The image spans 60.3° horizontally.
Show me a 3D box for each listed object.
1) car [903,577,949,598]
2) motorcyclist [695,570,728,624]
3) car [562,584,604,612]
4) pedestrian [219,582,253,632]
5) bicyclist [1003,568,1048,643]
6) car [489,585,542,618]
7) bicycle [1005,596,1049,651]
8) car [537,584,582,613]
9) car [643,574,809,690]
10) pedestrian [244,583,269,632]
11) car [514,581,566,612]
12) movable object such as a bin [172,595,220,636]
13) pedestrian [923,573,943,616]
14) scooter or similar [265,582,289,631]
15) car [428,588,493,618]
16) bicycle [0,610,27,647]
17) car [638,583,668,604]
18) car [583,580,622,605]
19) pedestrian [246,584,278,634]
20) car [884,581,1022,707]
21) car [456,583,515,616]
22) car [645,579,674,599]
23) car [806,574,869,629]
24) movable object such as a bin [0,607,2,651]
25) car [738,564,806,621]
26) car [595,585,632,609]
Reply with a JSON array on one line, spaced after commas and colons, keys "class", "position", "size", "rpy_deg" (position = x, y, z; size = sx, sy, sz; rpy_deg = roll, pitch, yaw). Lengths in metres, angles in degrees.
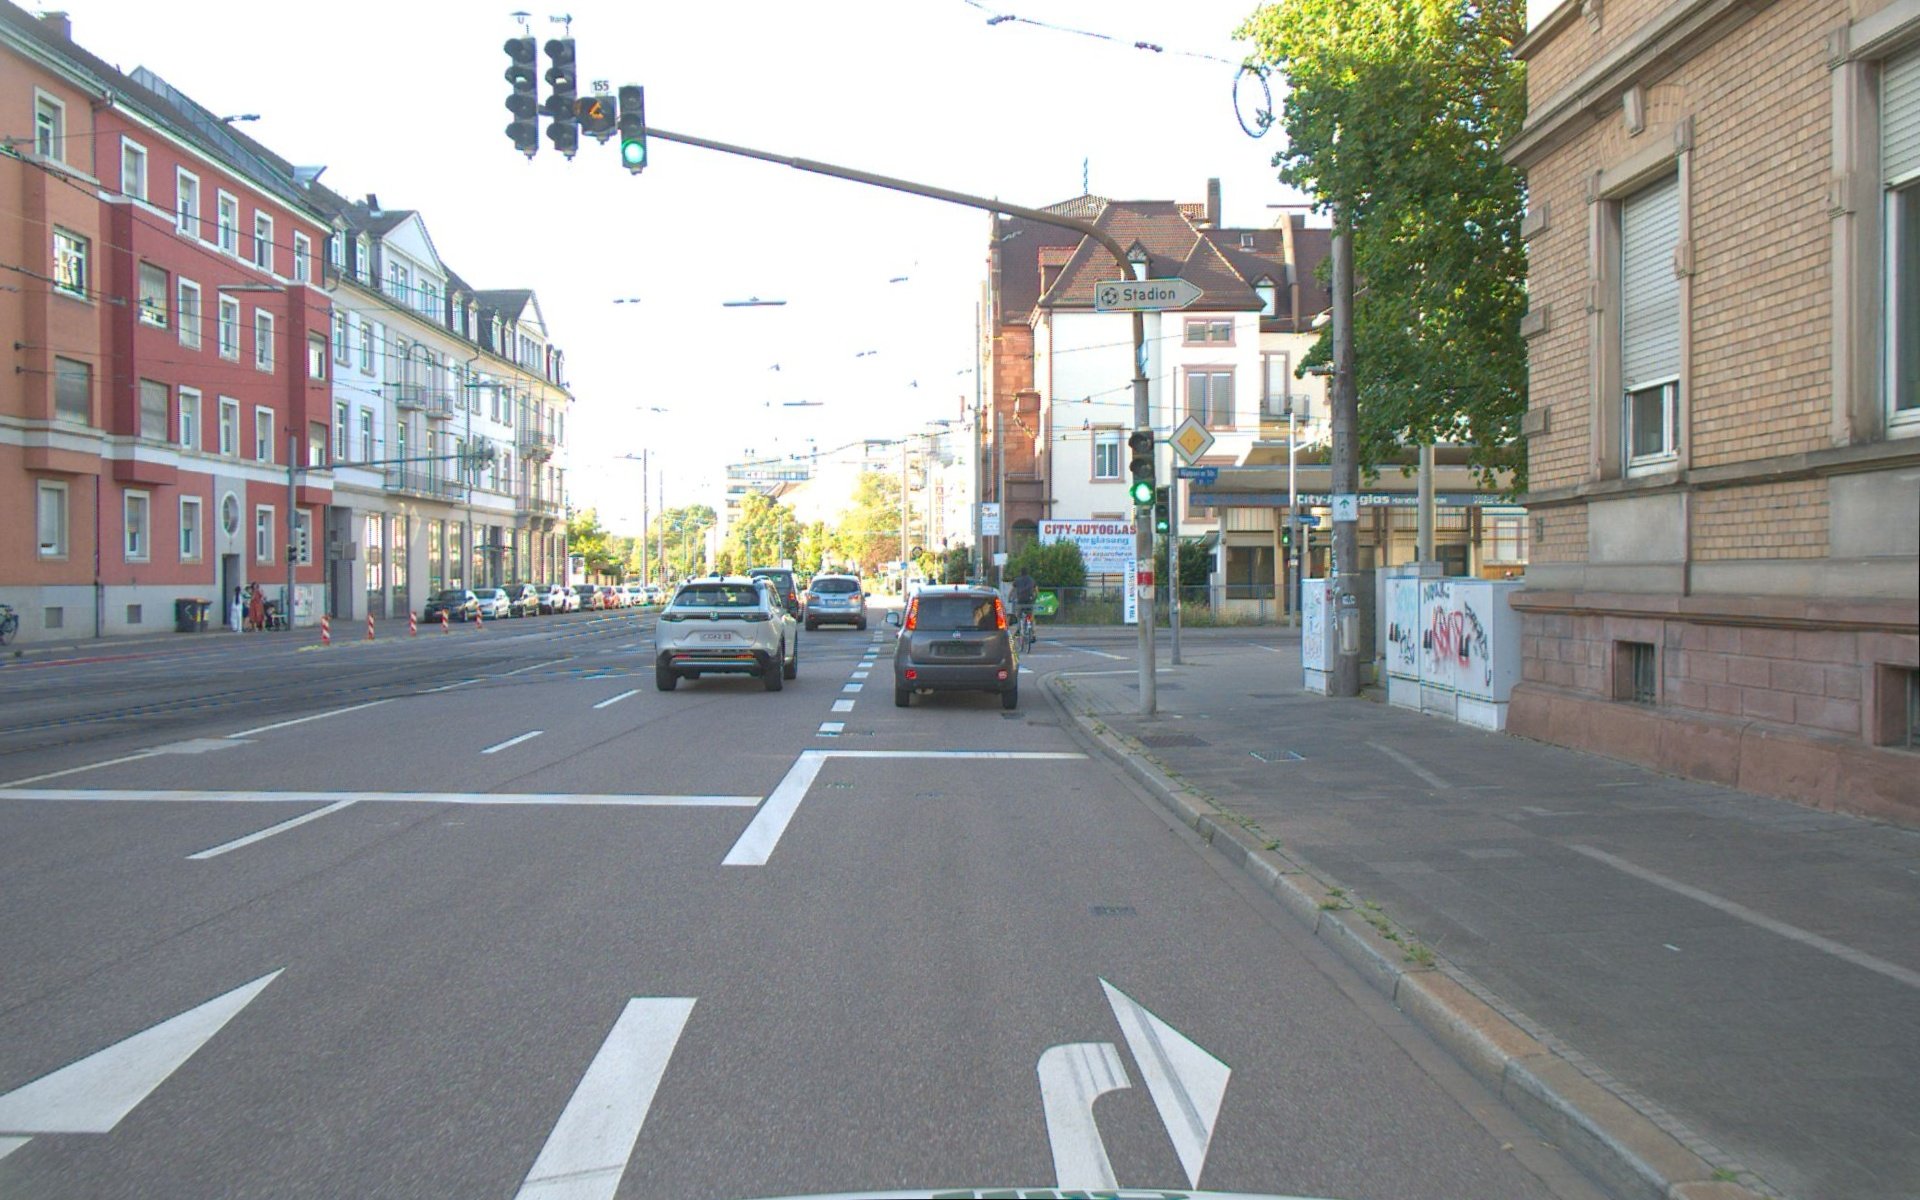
[{"class": "car", "position": [-3.265, -1.216, 158.585], "size": [4.182, 2.049, 1.995], "rpy_deg": [0, 0, -11]}, {"class": "motorcyclist", "position": [-6.672, -0.091, 44.451], "size": [0.762, 1.448, 0.891], "rpy_deg": [0, 1, -3]}, {"class": "car", "position": [-22.648, -0.143, 99.415], "size": [1.684, 1.579, 3.999], "rpy_deg": [-1, 1, -2]}, {"class": "pedestrian", "position": [-23.880, 0.223, 54.574], "size": [0.776, 1.661, 0.655], "rpy_deg": [0, 0, 17]}, {"class": "bicyclist", "position": [1.378, 0.114, 34.913], "size": [0.817, 1.551, 0.993], "rpy_deg": [0, 0, -5]}, {"class": "car", "position": [-22.142, 0.075, 82.440], "size": [1.684, 1.579, 3.855], "rpy_deg": [-1, 1, -2]}, {"class": "bicycle", "position": [1.405, 0.483, 34.793], "size": [0.755, 1.105, 1.870], "rpy_deg": [0, 1, -3]}, {"class": "car", "position": [-22.807, -0.092, 94.333], "size": [1.684, 1.579, 3.999], "rpy_deg": [-1, 1, -2]}, {"class": "car", "position": [-3.333, 0.396, 24.309], "size": [1.908, 1.555, 4.089], "rpy_deg": [0, 1, -1]}, {"class": "pedestrian", "position": [-23.846, 0.252, 56.089], "size": [0.647, 1.661, 0.786], "rpy_deg": [0, 0, -34]}, {"class": "car", "position": [-22.594, -0.216, 89.199], "size": [1.798, 1.579, 4.273], "rpy_deg": [-1, 1, -2]}, {"class": "movable object such as a bin", "position": [-23.965, 0.472, 51.889], "size": [0.852, 1.271, 1.234], "rpy_deg": [0, 0, 5]}, {"class": "pedestrian", "position": [-1.198, -0.242, 72.487], "size": [0.857, 1.856, 1.184], "rpy_deg": [0, 0, -1]}, {"class": "scooter or similar", "position": [-23.447, 0.214, 56.784], "size": [0.647, 1.661, 0.786], "rpy_deg": [0, 0, -34]}, {"class": "car", "position": [-21.693, 0.104, 71.916], "size": [1.684, 1.254, 3.999], "rpy_deg": [-1, 1, -2]}, {"class": "bicycle", "position": [-23.861, 0.709, 41.152], "size": [0.327, 0.906, 1.605], "rpy_deg": [0, 0, 3]}, {"class": "car", "position": [-23.973, -0.534, 129.208], "size": [1.684, 1.579, 3.999], "rpy_deg": [-1, 1, -2]}, {"class": "car", "position": [-22.752, -0.481, 105.371], "size": [1.684, 1.579, 3.999], "rpy_deg": [-1, 1, -2]}, {"class": "pedestrian", "position": [-23.360, 0.283, 55.347], "size": [0.823, 1.661, 0.784], "rpy_deg": [0, 0, -40]}, {"class": "car", "position": [-0.025, 0.522, 22.418], "size": [1.695, 1.526, 4.001], "rpy_deg": [0, 1, 2]}, {"class": "car", "position": [-22.205, -0.055, 77.483], "size": [1.684, 1.477, 3.999], "rpy_deg": [-1, 1, -2]}, {"class": "car", "position": [-24.538, -0.878, 135.201], "size": [1.684, 1.579, 3.999], "rpy_deg": [-1, 1, -2]}, {"class": "car", "position": [-3.752, 0.022, 50.993], "size": [1.778, 1.610, 3.998], "rpy_deg": [0, 0, -2]}, {"class": "movable object such as a bin", "position": [-23.514, 0.704, 39.514], "size": [0.827, 1.059, 0.810], "rpy_deg": [0, 0, -6]}, {"class": "car", "position": [-7.037, -0.285, 62.350], "size": [2.128, 2.044, 4.806], "rpy_deg": [0, 1, -2]}, {"class": "car", "position": [-23.066, -0.229, 110.108], "size": [1.684, 1.579, 3.999], "rpy_deg": [-1, 0, -2]}]
